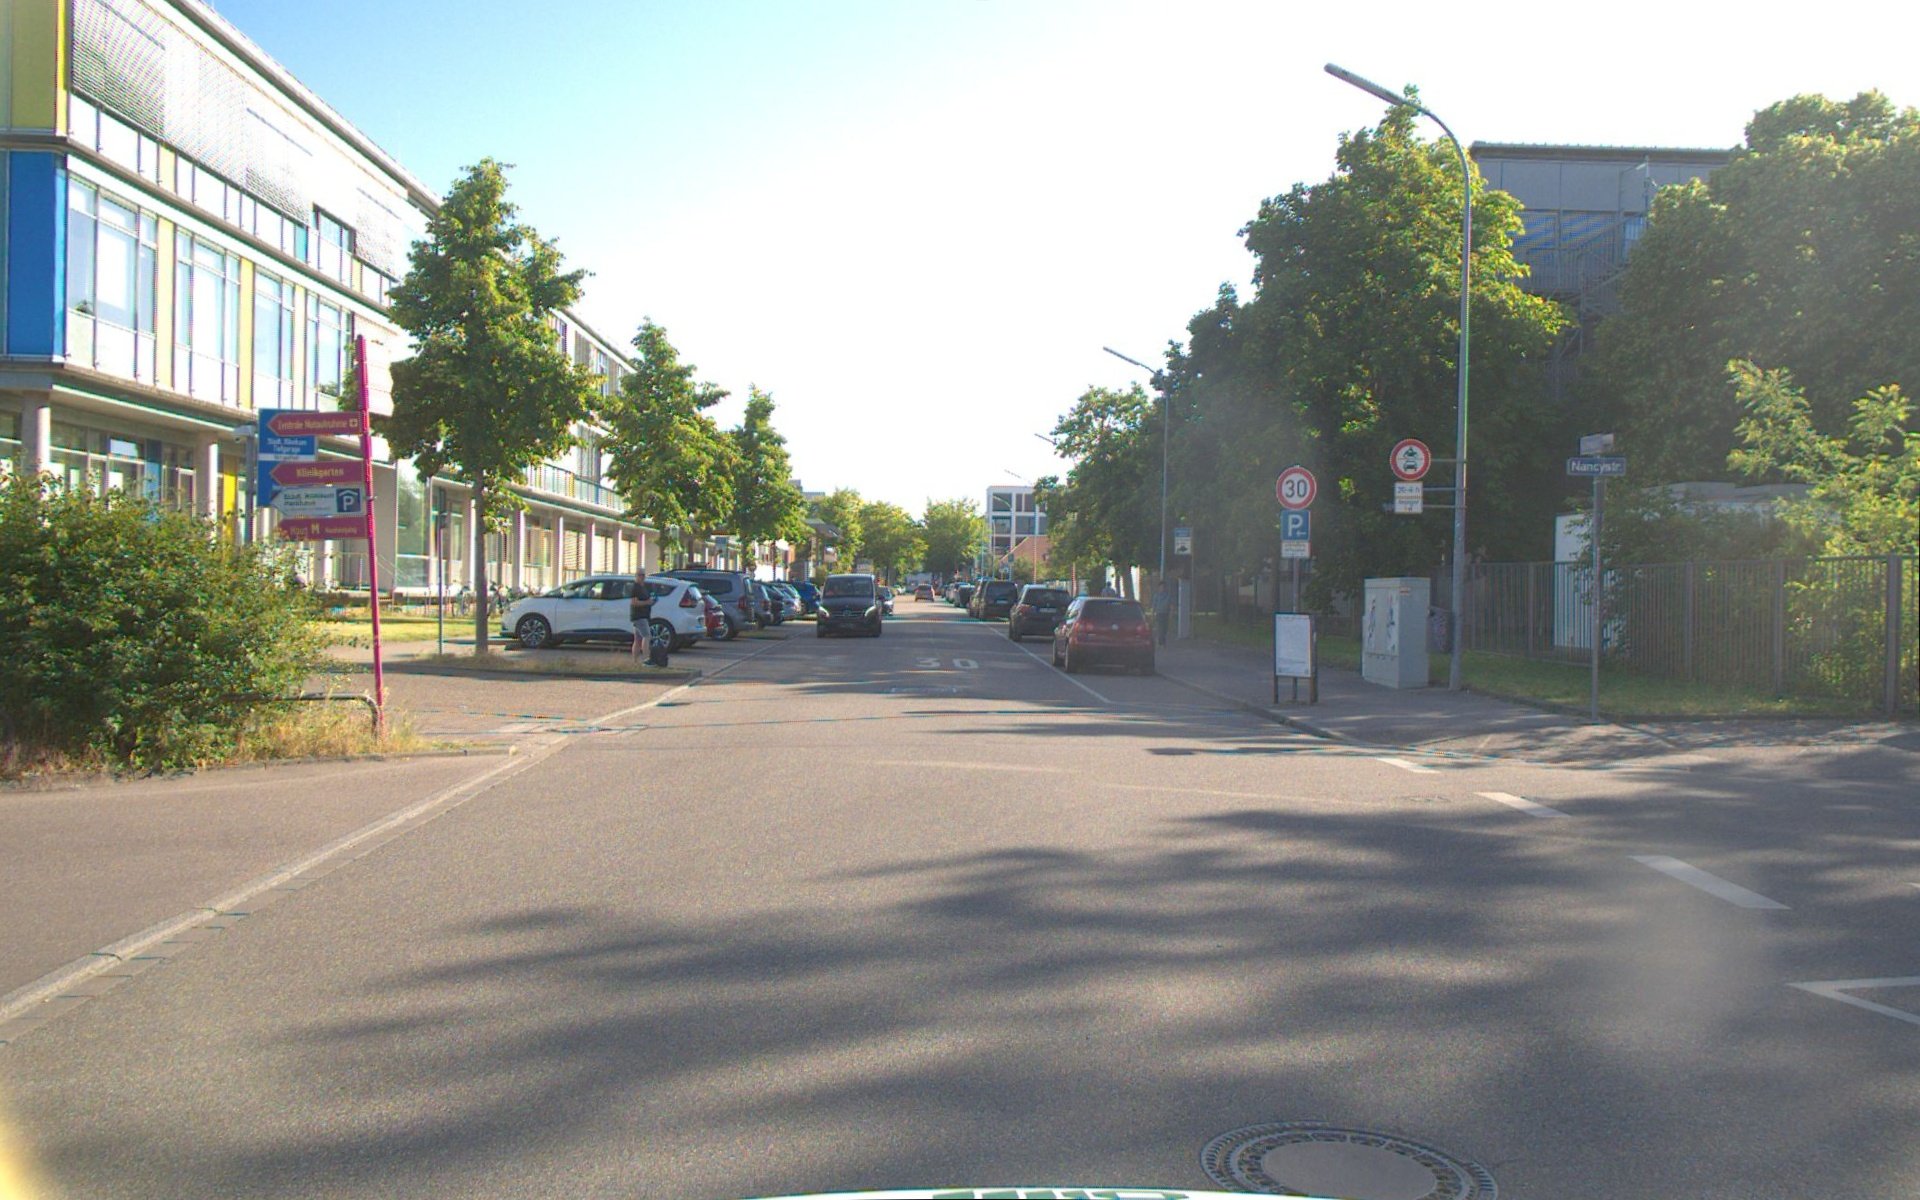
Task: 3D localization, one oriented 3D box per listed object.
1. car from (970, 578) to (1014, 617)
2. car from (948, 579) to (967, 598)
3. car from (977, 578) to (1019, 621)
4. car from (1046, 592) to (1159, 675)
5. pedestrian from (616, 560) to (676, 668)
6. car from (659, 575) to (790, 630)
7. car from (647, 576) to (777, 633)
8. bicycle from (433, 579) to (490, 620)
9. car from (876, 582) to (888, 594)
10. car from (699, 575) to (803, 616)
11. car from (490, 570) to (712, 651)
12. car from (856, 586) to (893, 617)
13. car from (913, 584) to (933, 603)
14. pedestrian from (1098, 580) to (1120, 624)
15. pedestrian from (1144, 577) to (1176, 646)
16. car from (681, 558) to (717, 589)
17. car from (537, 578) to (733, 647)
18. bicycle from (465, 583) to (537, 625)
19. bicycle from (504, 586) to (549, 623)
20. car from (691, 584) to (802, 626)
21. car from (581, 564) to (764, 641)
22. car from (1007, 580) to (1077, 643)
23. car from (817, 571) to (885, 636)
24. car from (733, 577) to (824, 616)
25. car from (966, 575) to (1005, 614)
[{"bbox_3d":[1.526,-0.138,80.746,1.953,1.854,4.197,0,1,-2],"label":"car"},{"bbox_3d":[-0.231,-0.949,135.506,1.407,1.588,3.041,1,1,-2],"label":"car"},{"bbox_3d":[1.703,-0.045,74.510,1.698,1.862,3.904,1,0,-1],"label":"car"},{"bbox_3d":[2.809,0.618,33.537,1.685,1.480,4.650,2,0,-2],"label":"car"},{"bbox_3d":[-5.645,0.248,29.802,0.840,1.874,0.825,3,0,0],"label":"pedestrian"},{"bbox_3d":[-7.821,0.066,55.304,4.164,1.640,2.046,2,0,-6],"label":"car"},{"bbox_3d":[-7.813,0.129,52.349,3.910,1.635,1.870,2,0,-6],"label":"car"},{"bbox_3d":[-15.216,-0.012,50.519,0.850,1.173,1.994,2,0,8],"label":"bicycle"},{"bbox_3d":[-10.761,-1.658,228.066,1.693,1.563,3.998,1,1,-3],"label":"car"},{"bbox_3d":[-8.556,-0.198,68.091,4.132,1.487,1.870,2,0,-6],"label":"car"},{"bbox_3d":[-7.982,0.226,37.069,4.516,1.680,1.868,1,0,2],"label":"car"},{"bbox_3d":[-4.169,0.042,81.167,1.669,1.476,4.085,0,0,-2],"label":"car"},{"bbox_3d":[-3.228,-0.566,143.134,1.708,1.570,3.999,1,0,-2],"label":"car"},{"bbox_3d":[5.729,0.070,63.576,0.684,1.690,0.751,-2,0,-2],"label":"pedestrian"},{"bbox_3d":[5.313,0.291,43.931,0.703,1.788,0.884,-1,1,-1],"label":"pedestrian"},{"bbox_3d":[-18.392,-1.833,116.548,1.953,2.049,3.998,1,-1,-2],"label":"car"},{"bbox_3d":[-7.786,0.295,39.907,4.344,1.527,1.827,1,0,-2],"label":"car"},{"bbox_3d":[-13.856,0.135,49.978,0.851,1.173,2.373,2,0,19],"label":"bicycle"},{"bbox_3d":[-14.070,0.140,53.763,0.874,1.131,1.890,2,1,2],"label":"bicycle"},{"bbox_3d":[-7.836,0.168,60.950,3.910,1.382,1.741,2,0,-6],"label":"car"},{"bbox_3d":[-7.839,0.055,45.352,4.646,1.897,1.827,2,1,-2],"label":"car"},{"bbox_3d":[2.415,0.299,49.567,1.775,1.695,4.592,2,1,-1],"label":"car"},{"bbox_3d":[-3.325,0.080,51.303,1.916,1.900,5.253,1,0,-2],"label":"car"},{"bbox_3d":[-8.548,-0.171,78.098,4.132,1.631,1.870,2,0,-6],"label":"car"},{"bbox_3d":[1.308,-0.294,86.987,1.837,2.013,3.999,0,1,-2],"label":"car"}]
